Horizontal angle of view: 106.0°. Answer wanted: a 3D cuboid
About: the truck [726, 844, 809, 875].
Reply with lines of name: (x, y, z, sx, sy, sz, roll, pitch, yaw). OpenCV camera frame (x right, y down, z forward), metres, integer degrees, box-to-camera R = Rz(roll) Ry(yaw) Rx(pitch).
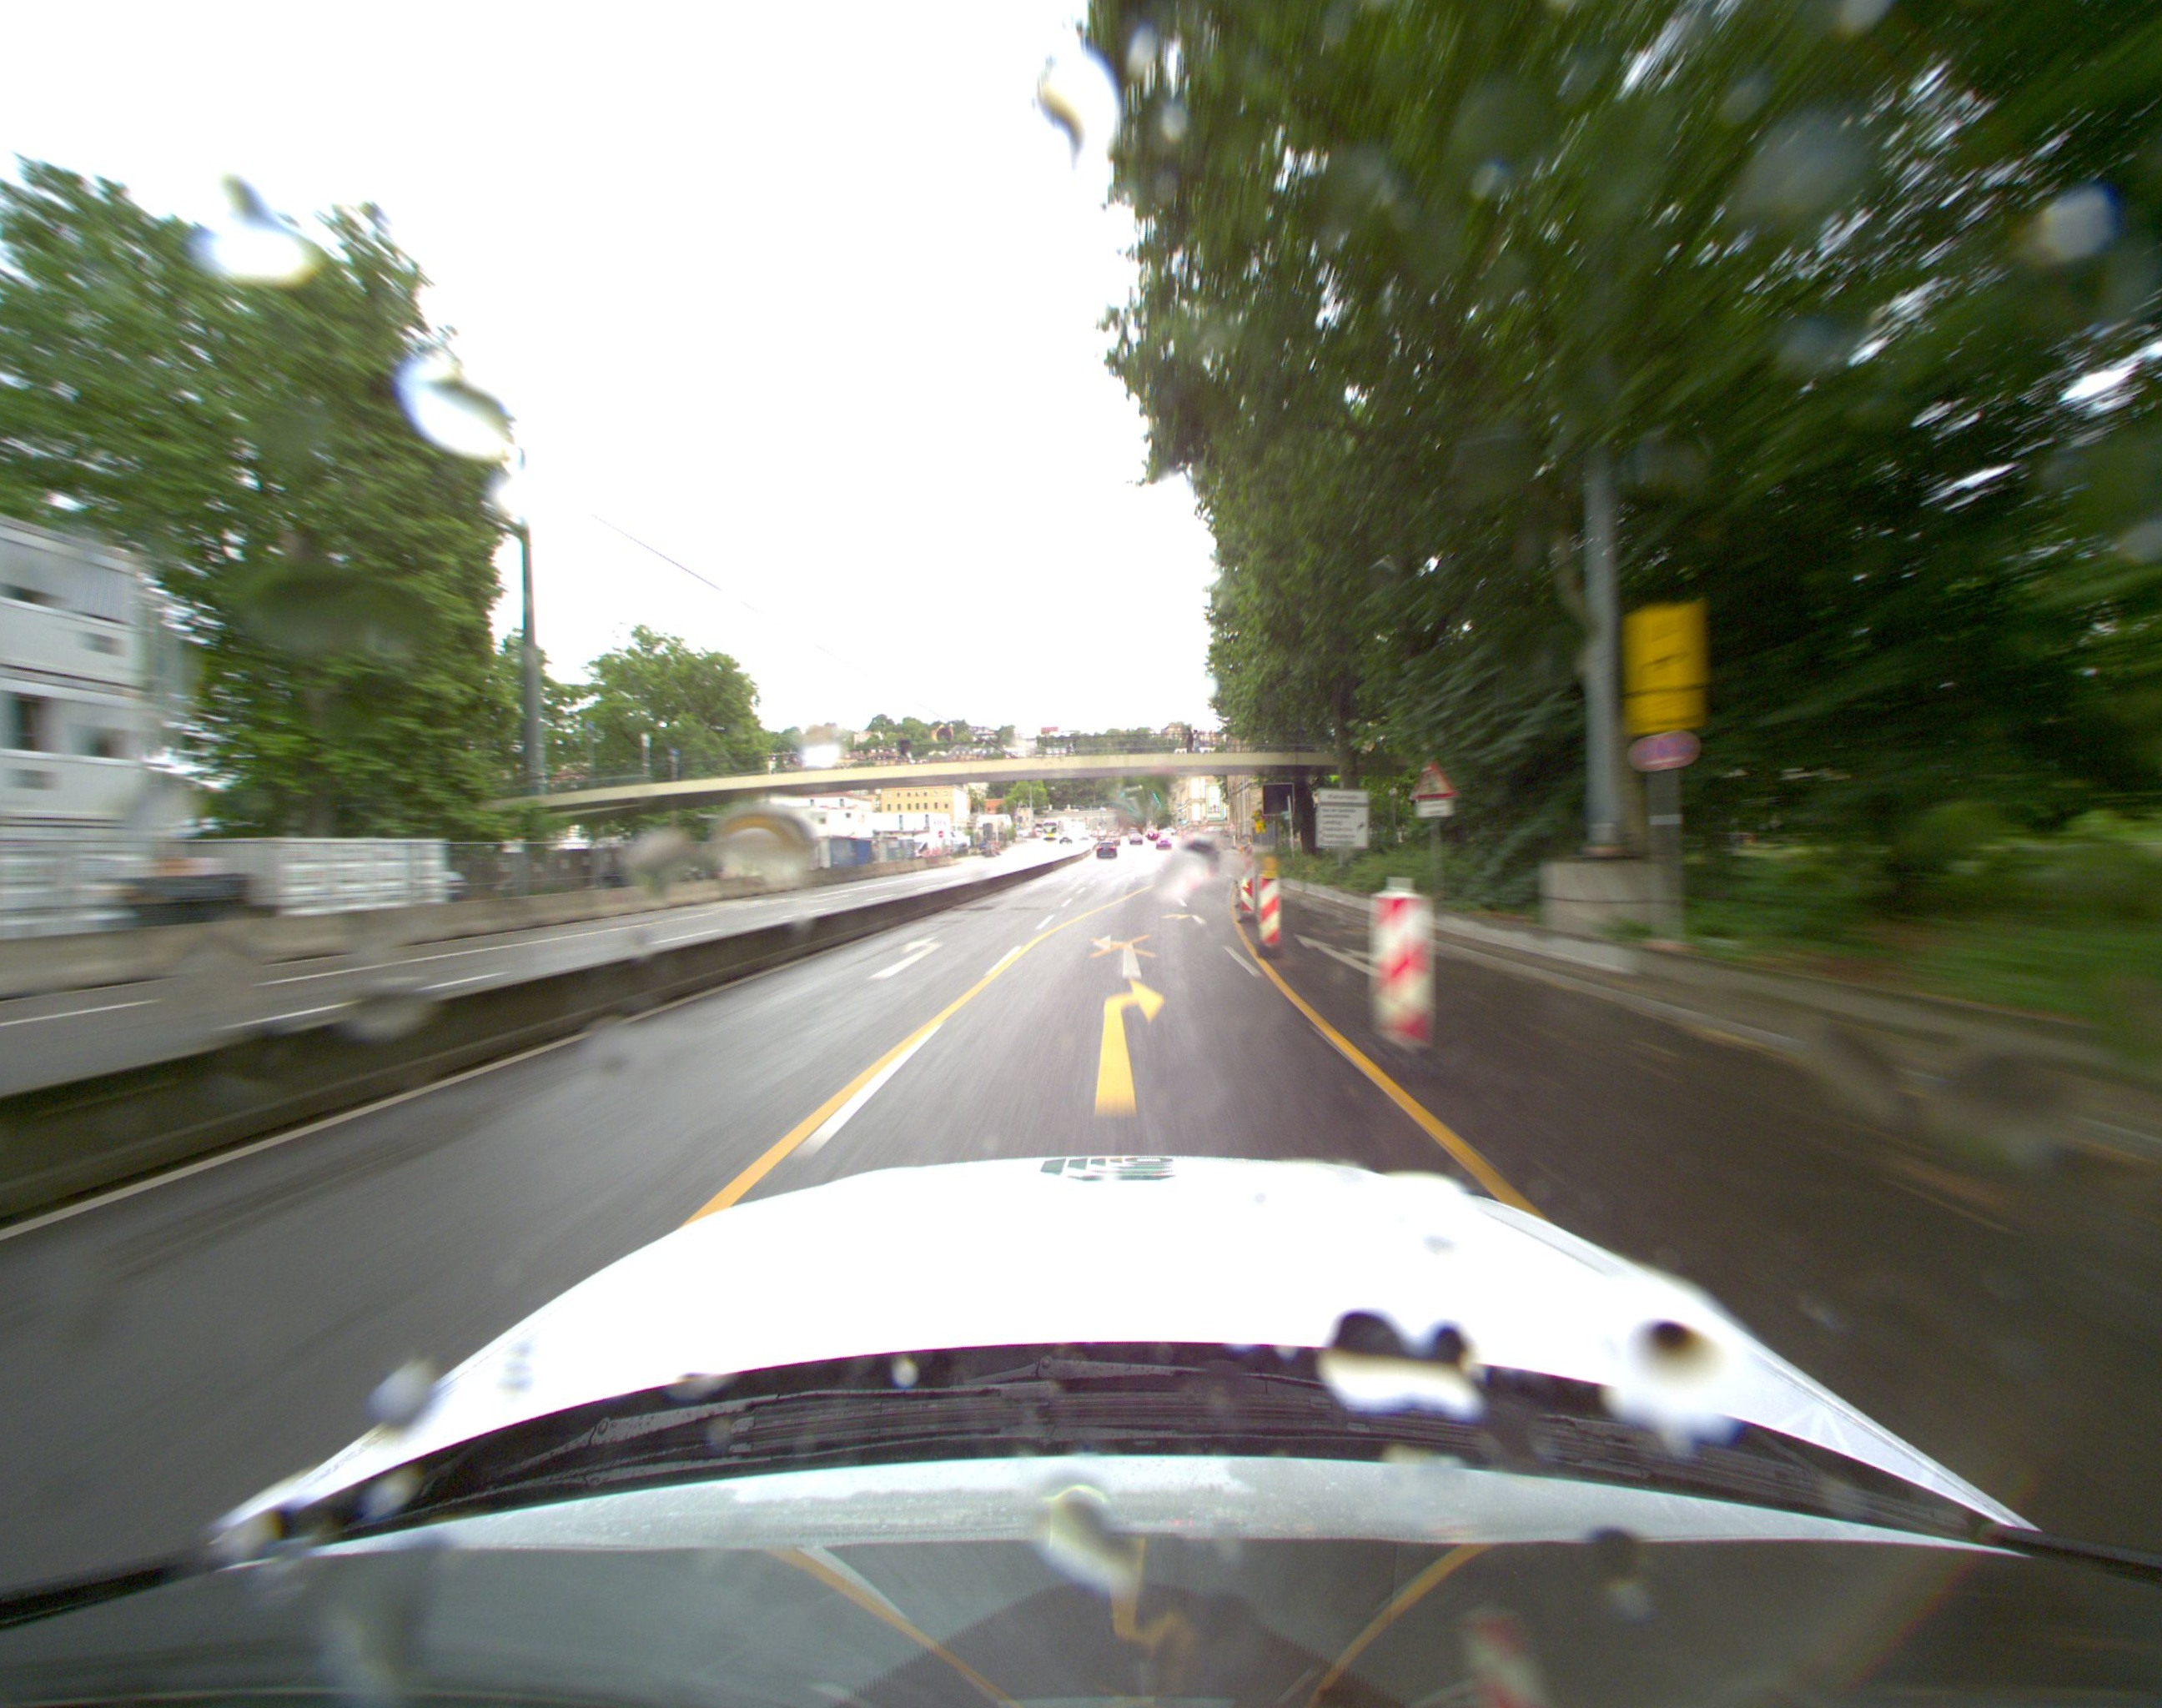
truck: (-23.095, 0.415, 60.146, 5.233, 2.013, 2.162, -3, 1, -2)

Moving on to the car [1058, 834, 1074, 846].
car: (-2.268, -2.150, 122.110, 2.073, 1.630, 4.856, -3, 1, 2)

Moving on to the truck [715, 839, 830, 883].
truck: (-19.627, 0.433, 52.129, 6.265, 2.452, 2.690, -3, 0, -5)

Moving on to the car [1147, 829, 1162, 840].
car: (11.849, -3.118, 131.265, 1.986, 1.698, 4.001, -3, 0, 1)

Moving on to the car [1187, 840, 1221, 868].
car: (7.302, -0.013, 48.491, 1.802, 1.527, 4.009, -3, 0, 8)

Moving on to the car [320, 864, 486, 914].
car: (-23.141, 1.176, 27.911, 3.972, 1.443, 2.001, -3, 0, 2)

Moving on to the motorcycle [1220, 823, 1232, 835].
motorcycle: (24.602, -4.261, 138.461, 1.786, 2.013, 3.821, -2, 2, 7)

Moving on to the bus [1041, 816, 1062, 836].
bus: (-5.012, -4.712, 140.244, 2.794, 3.184, 8.815, -3, 1, 3)

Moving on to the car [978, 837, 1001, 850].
car: (-11.919, -1.391, 106.480, 1.983, 1.621, 4.009, -2, 2, 7)

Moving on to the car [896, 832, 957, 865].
car: (-14.154, -0.533, 75.108, 1.974, 2.875, 6.090, -3, 0, 30)

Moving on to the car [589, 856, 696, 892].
car: (-22.715, 1.001, 42.340, 4.417, 1.627, 1.955, -3, 0, -6)

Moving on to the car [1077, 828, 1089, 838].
car: (0.410, -3.588, 137.100, 1.701, 1.489, 3.455, -3, 0, 4)

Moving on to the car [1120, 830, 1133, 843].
car: (7.479, -2.900, 133.742, 1.986, 1.869, 4.001, -3, 0, 2)

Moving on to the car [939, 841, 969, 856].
car: (-14.329, -0.579, 92.235, 1.750, 1.565, 4.699, -3, 0, 13)

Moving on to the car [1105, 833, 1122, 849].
car: (4.401, -1.783, 110.459, 1.984, 2.013, 4.006, -3, 0, 5)

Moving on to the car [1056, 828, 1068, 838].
car: (-3.534, -3.872, 153.256, 2.032, 1.662, 4.934, -3, 0, 1)

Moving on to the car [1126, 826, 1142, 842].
car: (7.428, -2.753, 114.668, 2.043, 2.013, 4.002, -3, 0, 2)

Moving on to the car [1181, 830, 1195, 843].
car: (18.162, -2.947, 137.960, 1.986, 2.013, 4.003, -1, 1, 2)

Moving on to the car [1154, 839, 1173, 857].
car: (9.831, -0.732, 97.297, 2.096, 2.050, 4.003, -3, 0, 3)

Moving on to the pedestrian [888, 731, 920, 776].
pedestrian: (-8.768, -4.971, 40.351, 1.140, 2.060, 1.063, -3, 0, 11)

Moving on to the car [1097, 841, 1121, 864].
car: (2.626, -0.111, 75.859, 2.008, 2.013, 4.003, -3, 0, 3)

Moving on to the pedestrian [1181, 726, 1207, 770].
pedestrian: (5.795, -5.392, 41.679, 1.140, 2.060, 1.063, -3, 0, 11)

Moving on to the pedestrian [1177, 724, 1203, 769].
pedestrian: (5.448, -5.362, 40.684, 1.140, 2.060, 1.063, -3, 0, 11)

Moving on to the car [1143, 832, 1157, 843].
car: (11.584, -2.822, 137.584, 1.986, 1.698, 4.001, -3, 0, 1)
